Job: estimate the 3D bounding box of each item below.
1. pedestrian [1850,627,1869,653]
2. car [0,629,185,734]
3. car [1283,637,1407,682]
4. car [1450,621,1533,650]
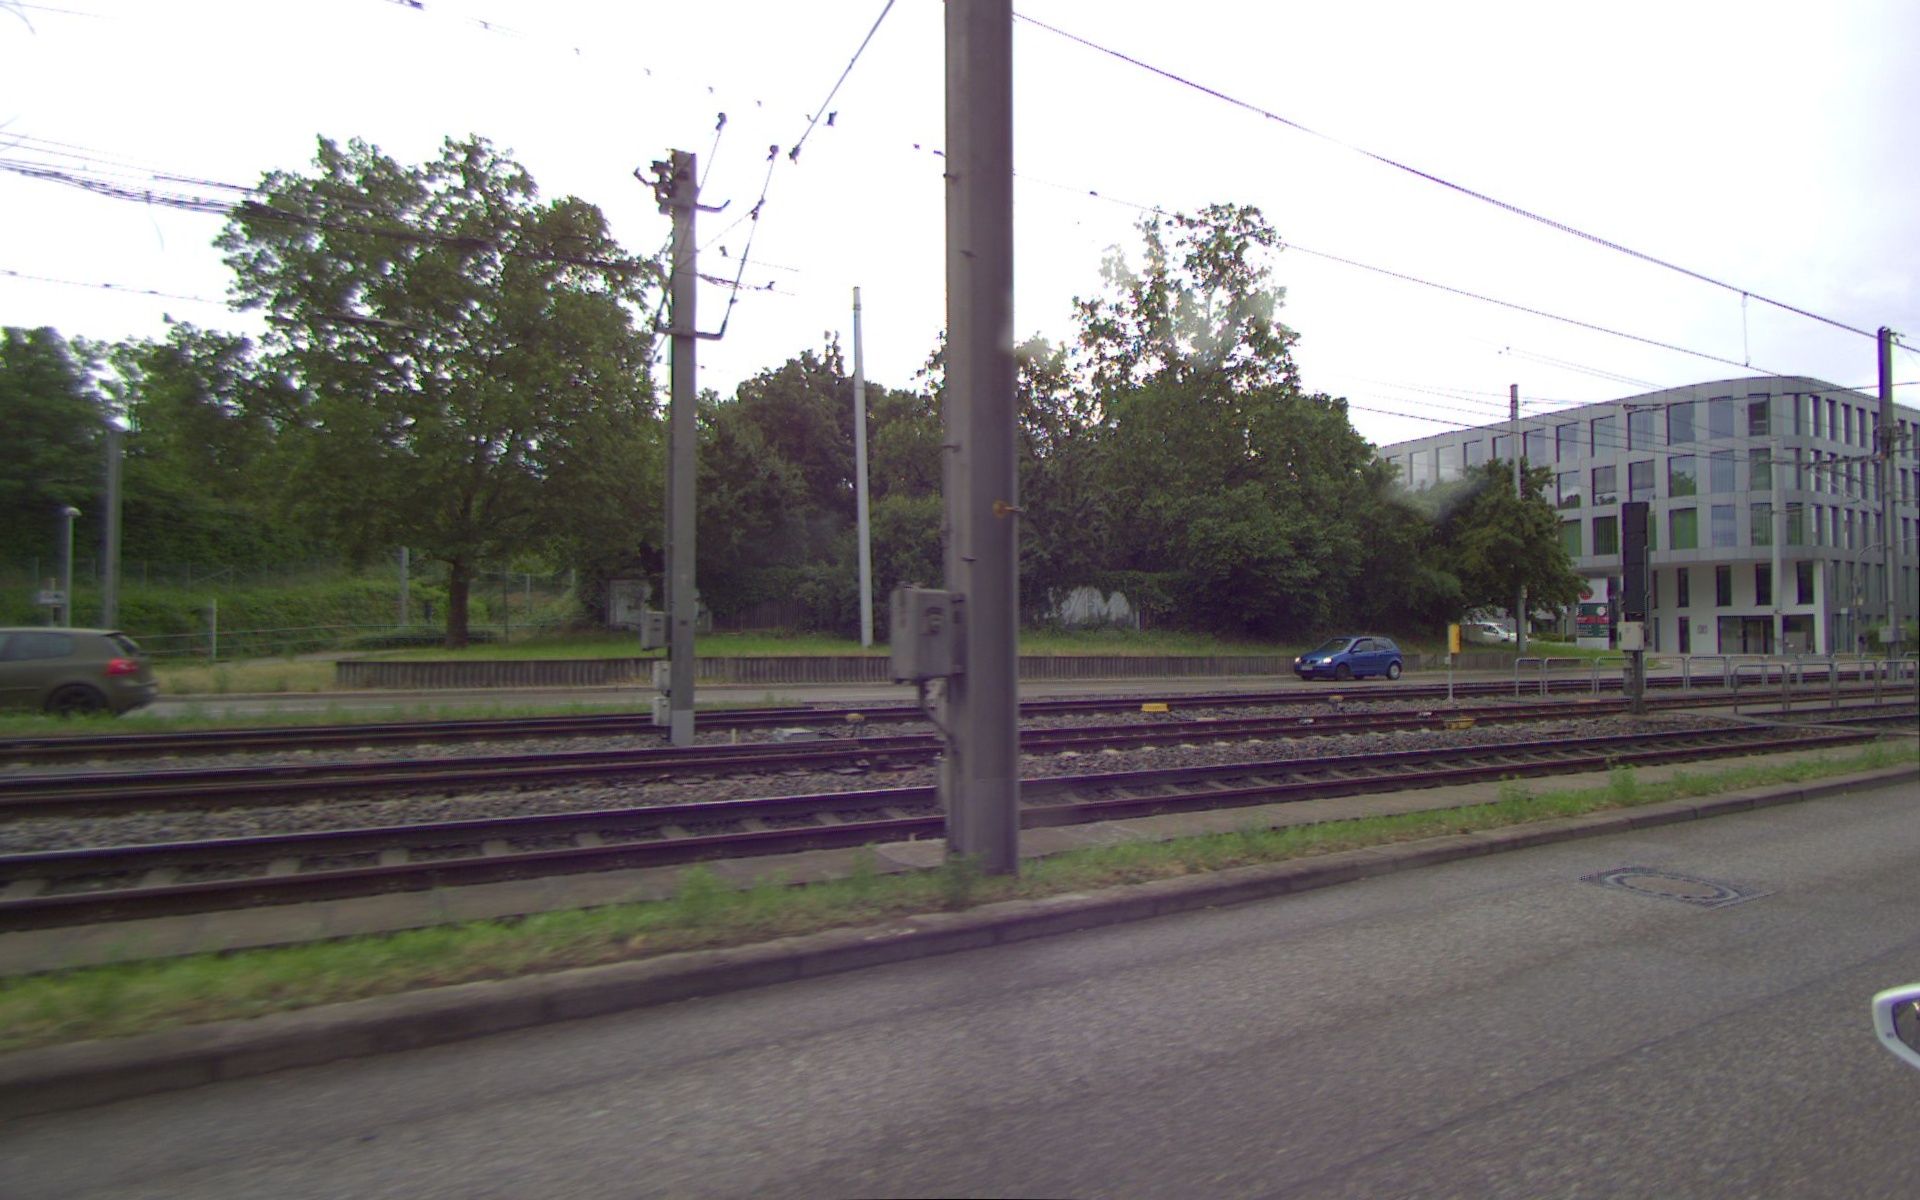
[{"bbox_3d":[58.116,2.575,64.885,0.835,1.669,0.721,2,-1,-29],"label":"pedestrian"},{"bbox_3d":[-14.566,1.198,15.139,4.253,1.506,1.884,1,-2,-28],"label":"car"},{"bbox_3d":[12.713,1.928,33.162,3.851,1.416,1.754,1,-2,-28],"label":"car"},{"bbox_3d":[31.130,2.047,58.931,1.904,1.472,3.898,1,1,-32],"label":"car"}]
